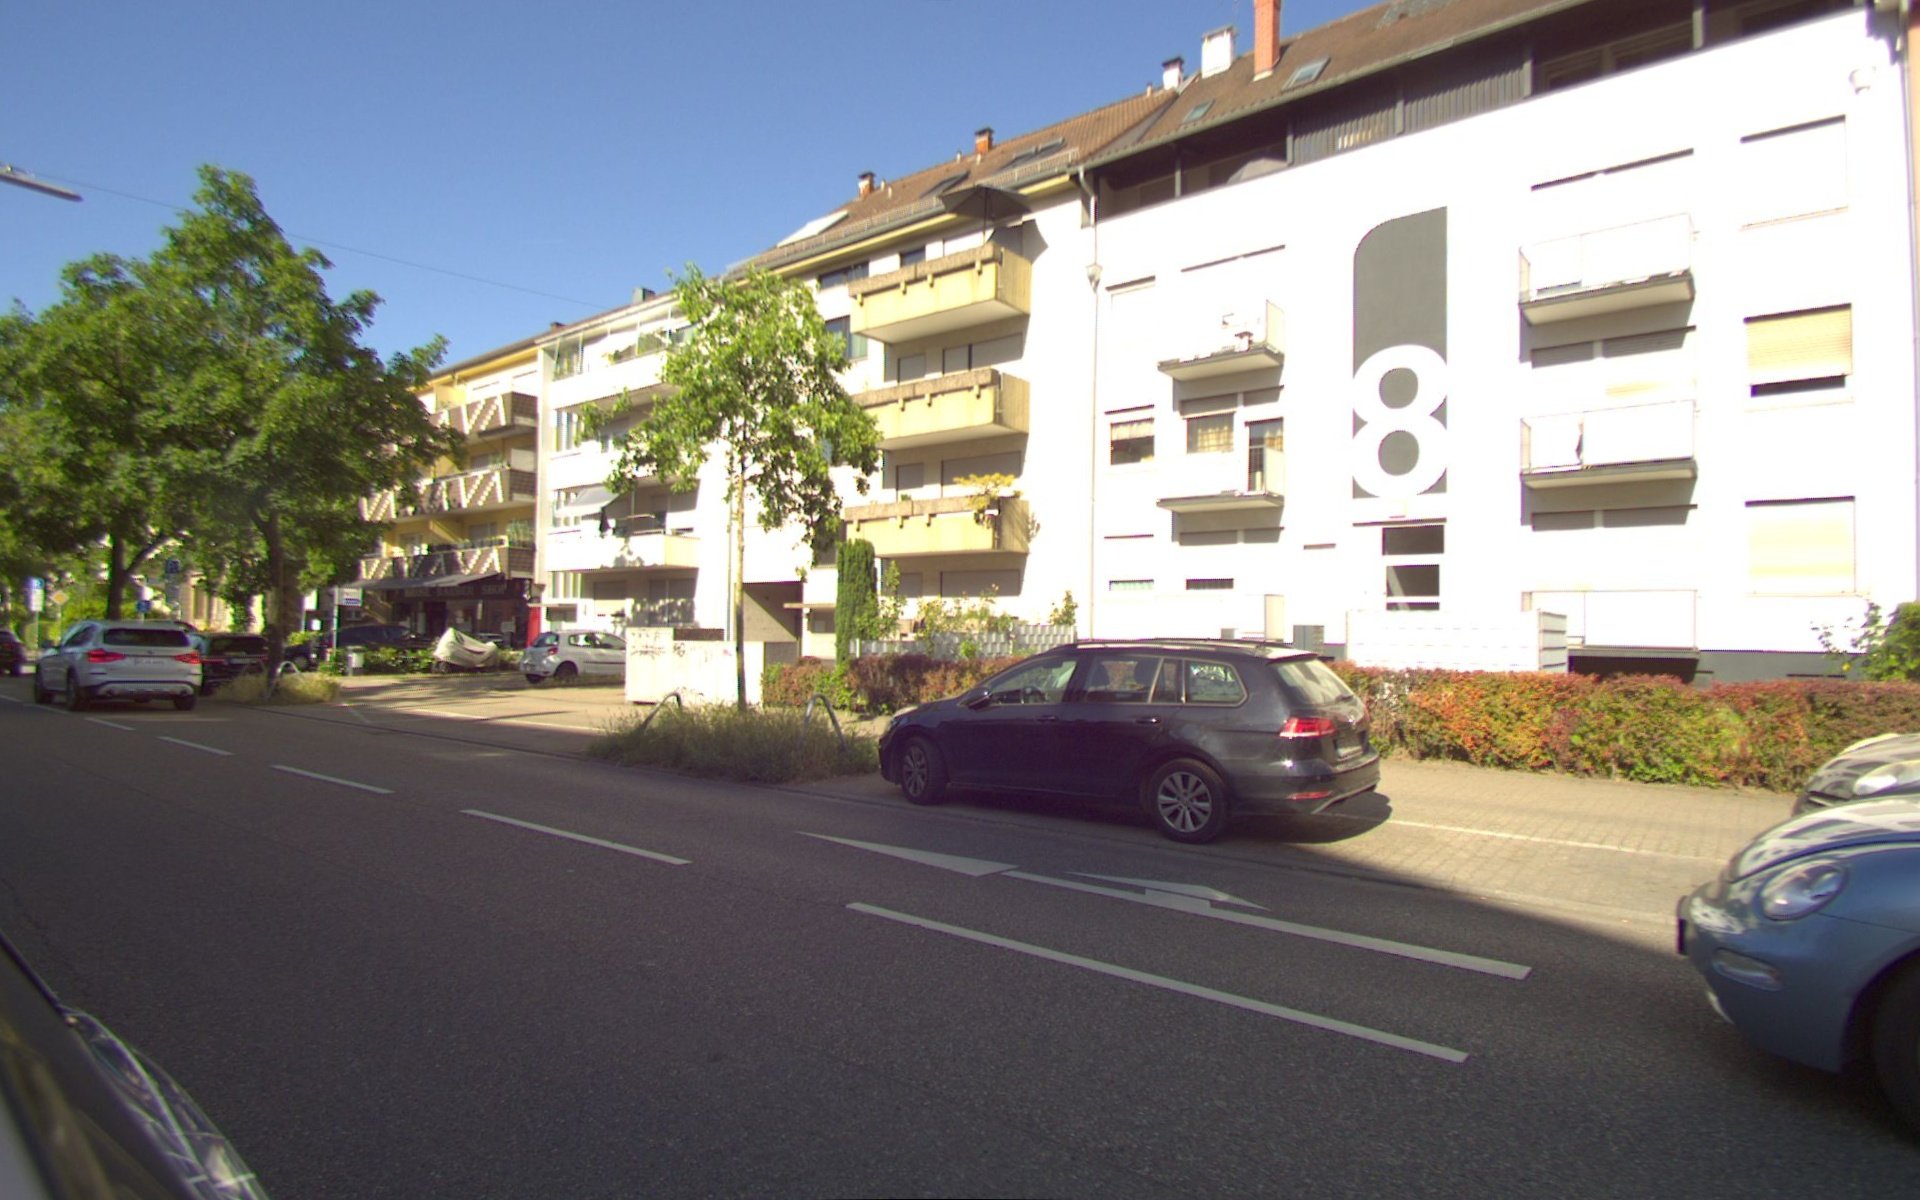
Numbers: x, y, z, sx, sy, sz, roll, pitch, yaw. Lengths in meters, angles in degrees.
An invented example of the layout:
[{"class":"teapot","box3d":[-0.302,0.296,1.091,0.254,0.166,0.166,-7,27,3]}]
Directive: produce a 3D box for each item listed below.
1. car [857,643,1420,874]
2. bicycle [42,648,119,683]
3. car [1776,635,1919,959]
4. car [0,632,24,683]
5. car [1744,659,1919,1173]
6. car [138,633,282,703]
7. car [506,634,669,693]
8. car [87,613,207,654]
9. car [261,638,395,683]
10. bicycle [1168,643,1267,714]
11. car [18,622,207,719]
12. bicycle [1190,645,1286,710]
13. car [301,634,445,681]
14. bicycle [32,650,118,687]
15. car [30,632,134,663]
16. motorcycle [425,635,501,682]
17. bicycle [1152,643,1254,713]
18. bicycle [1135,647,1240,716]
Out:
[{"class":"car","box3d":[1.341,1.133,8.724,4.486,1.505,1.768,-2,-3,38]},{"class":"bicycle","box3d":[-30.058,2.216,34.617,1.903,1.144,0.464,0,-2,-23]},{"class":"car","box3d":[6.317,0.946,4.801,3.650,1.537,1.660,-2,-1,36]},{"class":"car","box3d":[-31.558,1.796,32.331,4.337,1.578,1.702,-2,-6,39]},{"class":"car","box3d":[4.429,0.869,2.465,3.931,1.392,1.720,-2,-5,38]},{"class":"car","box3d":[-18.320,1.580,24.633,4.675,1.547,1.705,-2,-2,39]},{"class":"car","box3d":[-10.379,1.735,28.416,1.878,1.498,3.949,-2,-3,38]},{"class":"car","box3d":[-39.472,1.625,49.285,1.862,1.893,4.307,-1,-2,15]},{"class":"car","box3d":[-22.306,2.112,35.801,3.932,1.467,1.737,1,-2,-33]},{"class":"bicycle","box3d":[4.245,1.277,16.733,1.547,1.120,0.444,-2,-4,39]},{"class":"car","box3d":[-16.485,1.338,19.611,4.666,1.661,1.789,-2,-5,38]},{"class":"bicycle","box3d":[4.731,1.306,17.288,1.547,1.071,0.443,-2,-4,39]},{"class":"car","box3d":[-19.806,1.896,34.221,3.939,1.472,1.735,1,-3,-43]},{"class":"bicycle","box3d":[-28.036,2.159,32.101,1.994,1.100,0.464,0,-2,-28]},{"class":"car","box3d":[-45.447,2.429,52.442,1.631,1.500,3.868,-2,-3,40]},{"class":"motorcycle","box3d":[-16.501,1.936,33.620,2.124,1.497,0.782,1,-3,-43]},{"class":"bicycle","box3d":[3.843,1.223,16.077,1.547,1.061,0.416,-2,-4,39]},{"class":"bicycle","box3d":[3.422,1.212,15.303,1.547,0.990,0.395,-2,-4,39]}]
